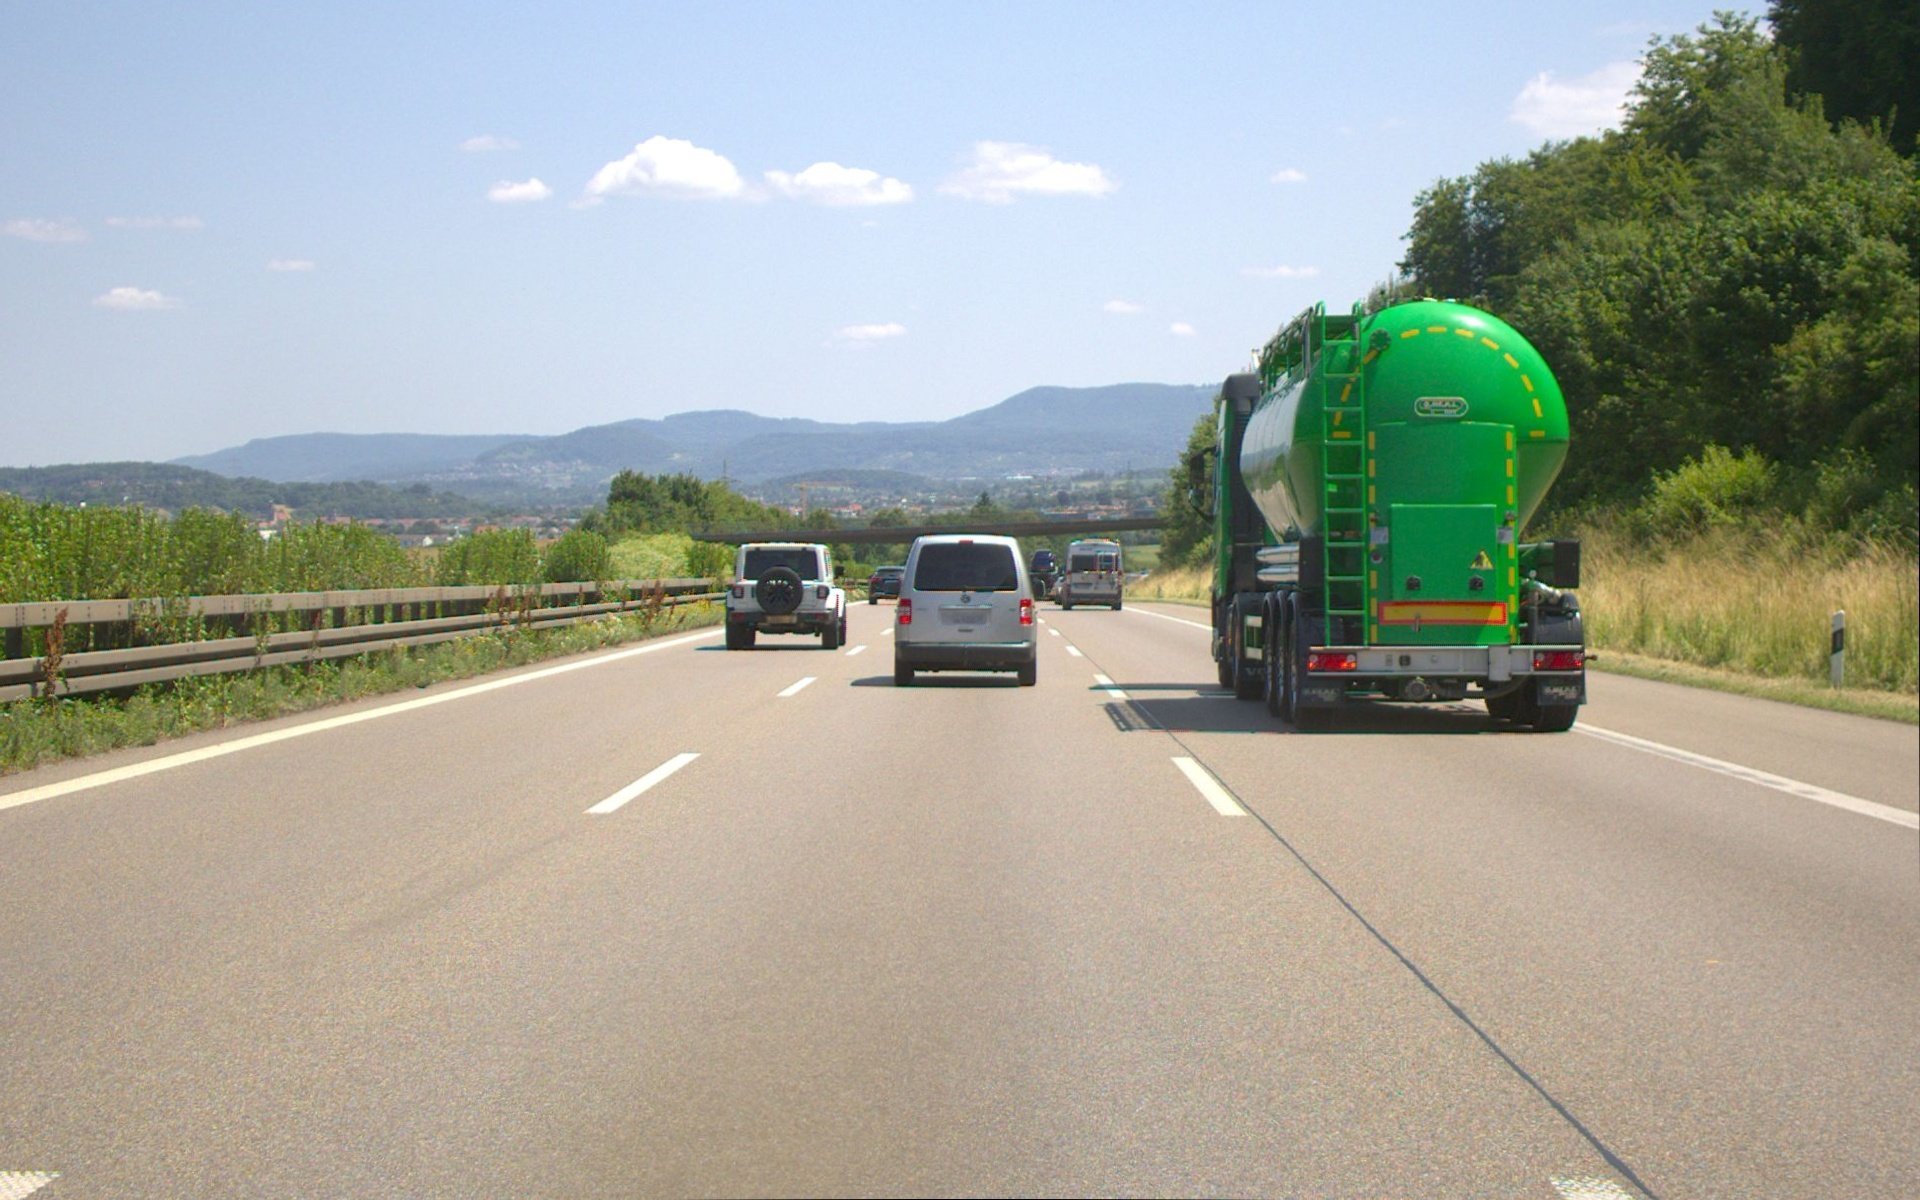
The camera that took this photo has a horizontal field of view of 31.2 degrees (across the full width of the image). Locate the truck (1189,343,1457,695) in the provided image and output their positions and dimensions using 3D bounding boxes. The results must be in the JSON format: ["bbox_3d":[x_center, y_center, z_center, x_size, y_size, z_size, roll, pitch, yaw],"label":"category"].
[{"bbox_3d":[4.139,-0.931,40.145,2.509,3.828,4.893,1,1,-1],"label":"truck"}]

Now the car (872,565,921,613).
[{"bbox_3d":[-2.725,-0.498,148.457,1.993,2.007,4.000,1,1,1],"label":"car"}]

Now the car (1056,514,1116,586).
[{"bbox_3d":[4.596,-1.848,126.153,2.089,2.567,6.622,1,1,2],"label":"car"}]

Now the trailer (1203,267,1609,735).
[{"bbox_3d":[4.219,-0.948,34.916,2.587,4.014,10.471,1,1,-1],"label":"trailer"}]

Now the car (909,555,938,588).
[{"bbox_3d":[-2.353,-1.834,220.294,1.698,2.007,3.822,1,1,1],"label":"car"}]

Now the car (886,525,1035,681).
[{"bbox_3d":[-0.046,-0.009,43.134,1.745,1.823,4.801,1,1,-1],"label":"car"}]

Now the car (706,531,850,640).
[{"bbox_3d":[-3.158,-0.291,60.560,2.083,1.823,4.753,1,1,2],"label":"car"}]
